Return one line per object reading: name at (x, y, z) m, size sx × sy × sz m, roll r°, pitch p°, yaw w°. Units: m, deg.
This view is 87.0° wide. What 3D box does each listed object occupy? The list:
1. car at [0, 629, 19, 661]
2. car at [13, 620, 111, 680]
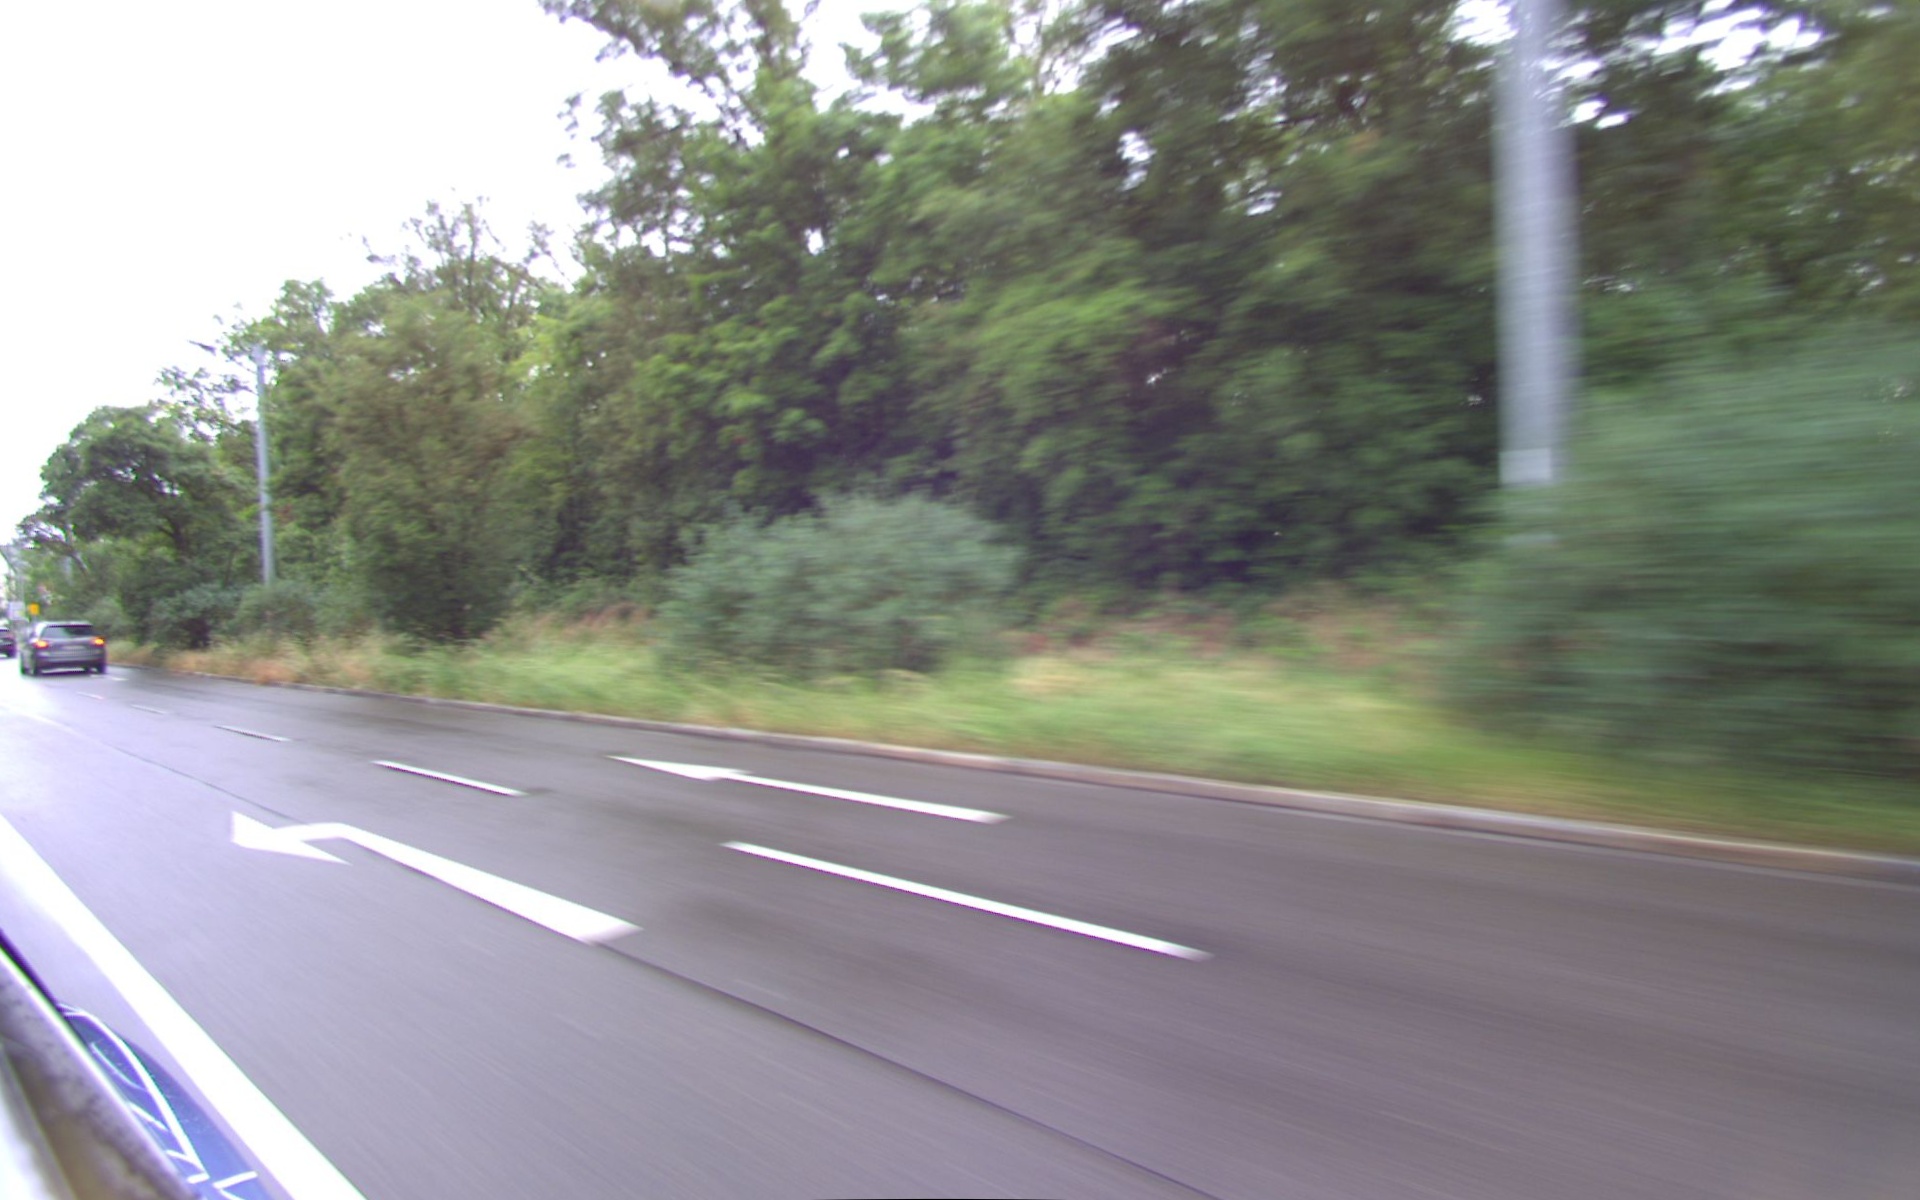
car at (-45.650, 2.127, 47.652) m, size 3.988 × 1.452 × 1.582 m, roll -2°, pitch -1°, yaw 41°
car at (-27.657, 1.501, 31.127) m, size 4.082 × 1.622 × 1.753 m, roll -2°, pitch 0°, yaw 42°
